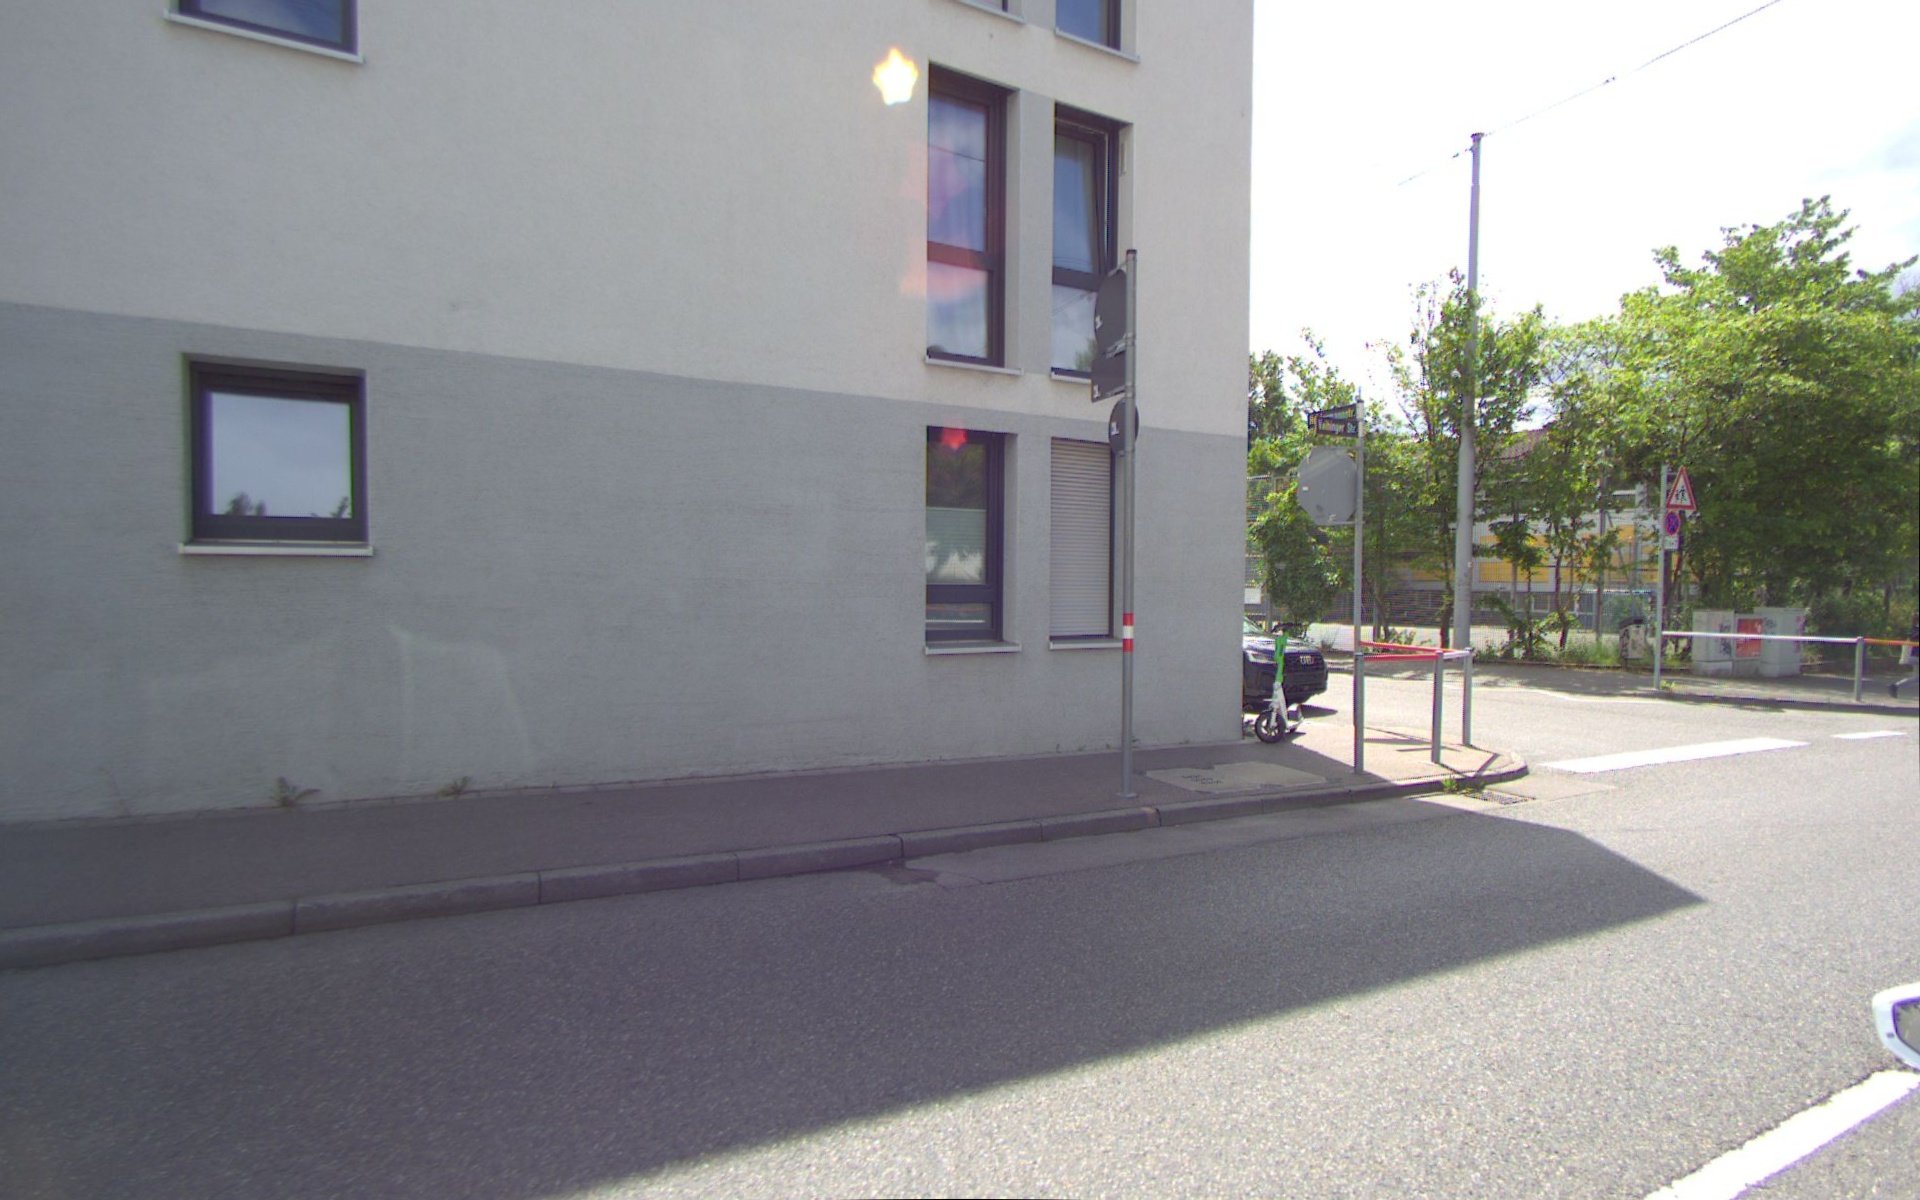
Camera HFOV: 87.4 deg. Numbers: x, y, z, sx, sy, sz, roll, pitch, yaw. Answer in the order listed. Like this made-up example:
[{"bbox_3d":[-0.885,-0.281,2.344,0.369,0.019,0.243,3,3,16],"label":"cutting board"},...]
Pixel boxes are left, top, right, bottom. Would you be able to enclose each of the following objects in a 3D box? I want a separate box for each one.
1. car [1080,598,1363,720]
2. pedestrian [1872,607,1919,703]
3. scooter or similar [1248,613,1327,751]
[{"bbox_3d":[3.870,0.784,15.458,1.840,1.497,3.959,-1,2,-35],"label":"car"},{"bbox_3d":[16.594,0.950,17.504,0.757,1.619,0.672,3,1,19],"label":"pedestrian"},{"bbox_3d":[3.326,0.787,10.148,0.482,1.278,1.305,2,0,29],"label":"scooter or similar"}]
